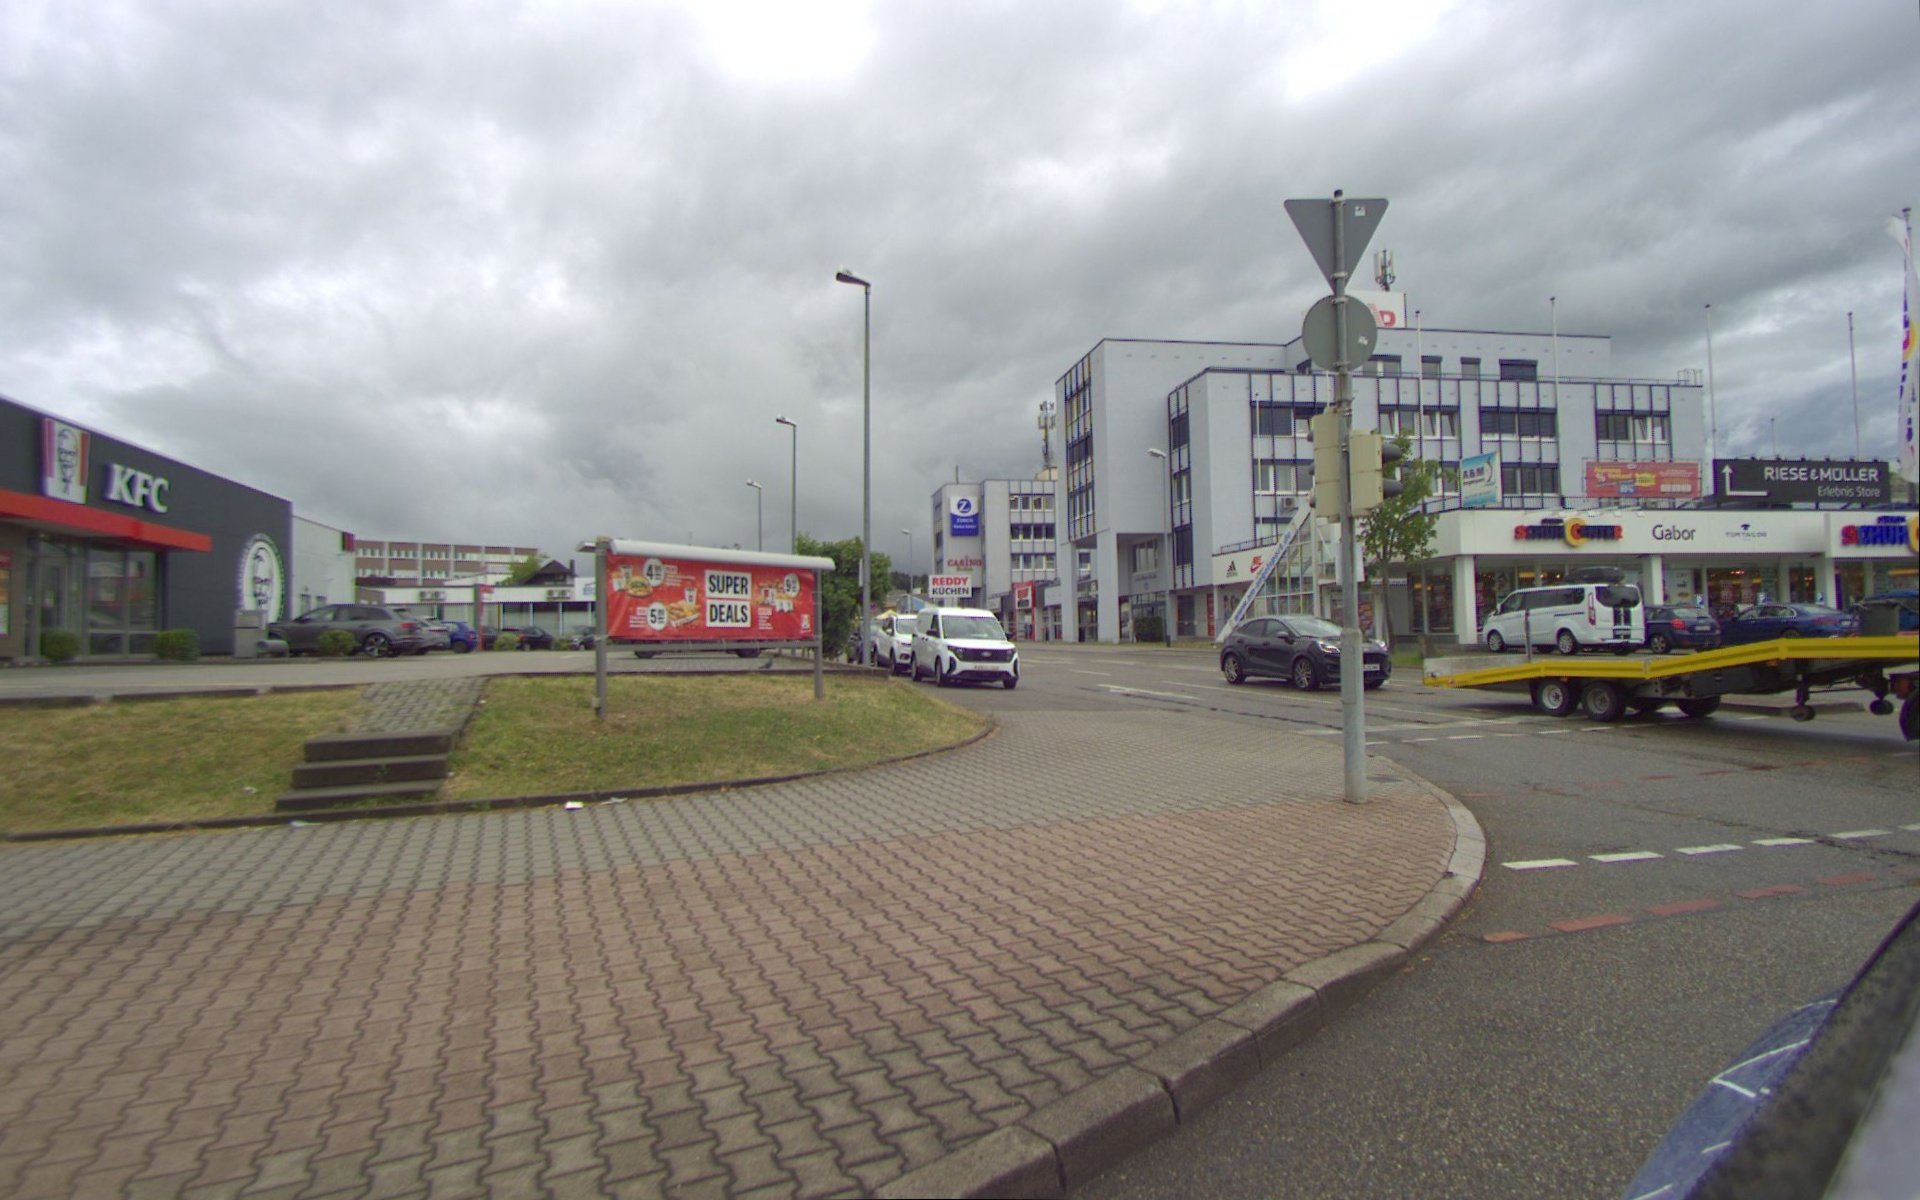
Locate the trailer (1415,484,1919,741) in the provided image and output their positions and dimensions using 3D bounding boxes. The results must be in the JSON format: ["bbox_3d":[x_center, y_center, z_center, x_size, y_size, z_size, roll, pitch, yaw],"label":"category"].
[{"bbox_3d":[9.638,0.213,12.939,2.262,2.506,7.984,0,-2,-16],"label":"trailer"}]

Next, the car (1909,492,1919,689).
[{"bbox_3d":[11.112,0.107,7.796,2.199,2.506,5.023,0,-2,-16],"label":"car"}]

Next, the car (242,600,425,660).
[{"bbox_3d":[-19.872,0.930,32.340,4.643,1.763,1.896,-1,-1,-19],"label":"car"}]

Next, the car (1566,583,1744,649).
[{"bbox_3d":[21.041,0.496,30.897,1.858,1.843,4.381,-1,-1,-11],"label":"car"}]

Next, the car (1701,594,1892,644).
[{"bbox_3d":[25.726,0.604,31.352,1.786,1.412,4.381,-1,-1,-11],"label":"car"}]

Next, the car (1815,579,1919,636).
[{"bbox_3d":[30.807,0.241,32.871,1.858,1.787,4.381,-1,-1,-11],"label":"car"}]

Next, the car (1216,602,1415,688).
[{"bbox_3d":[7.284,0.900,21.175,1.776,1.560,4.007,-2,-1,-18],"label":"car"}]

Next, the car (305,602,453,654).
[{"bbox_3d":[-21.075,0.988,36.921,4.408,1.763,1.896,-1,-1,-19],"label":"car"}]

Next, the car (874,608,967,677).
[{"bbox_3d":[-1.176,1.139,28.207,1.786,1.730,4.007,-1,-1,-14],"label":"car"}]

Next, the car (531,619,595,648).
[{"bbox_3d":[-22.707,1.948,58.002,1.543,1.572,3.343,-2,-3,22],"label":"car"}]

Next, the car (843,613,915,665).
[{"bbox_3d":[-2.794,1.277,34.292,1.786,1.619,4.007,-1,-1,-14],"label":"car"}]

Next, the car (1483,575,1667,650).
[{"bbox_3d":[18.044,0.388,30.020,1.959,2.040,4.793,0,-1,-9],"label":"car"}]

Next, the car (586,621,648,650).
[{"bbox_3d":[-19.771,2.056,58.442,1.543,1.572,3.342,-2,-4,22],"label":"car"}]

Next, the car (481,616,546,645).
[{"bbox_3d":[-25.307,1.708,57.494,1.541,1.572,3.347,-1,-1,19],"label":"car"}]

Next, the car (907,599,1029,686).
[{"bbox_3d":[0.079,0.945,23.301,1.761,1.806,4.256,2,-2,-14],"label":"car"}]

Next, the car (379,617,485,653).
[{"bbox_3d":[-23.157,1.525,44.552,3.952,1.505,1.743,0,-1,-22],"label":"car"}]

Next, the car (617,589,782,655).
[{"bbox_3d":[-7.446,0.610,28.864,4.408,1.763,1.896,-1,-1,-19],"label":"car"}]
